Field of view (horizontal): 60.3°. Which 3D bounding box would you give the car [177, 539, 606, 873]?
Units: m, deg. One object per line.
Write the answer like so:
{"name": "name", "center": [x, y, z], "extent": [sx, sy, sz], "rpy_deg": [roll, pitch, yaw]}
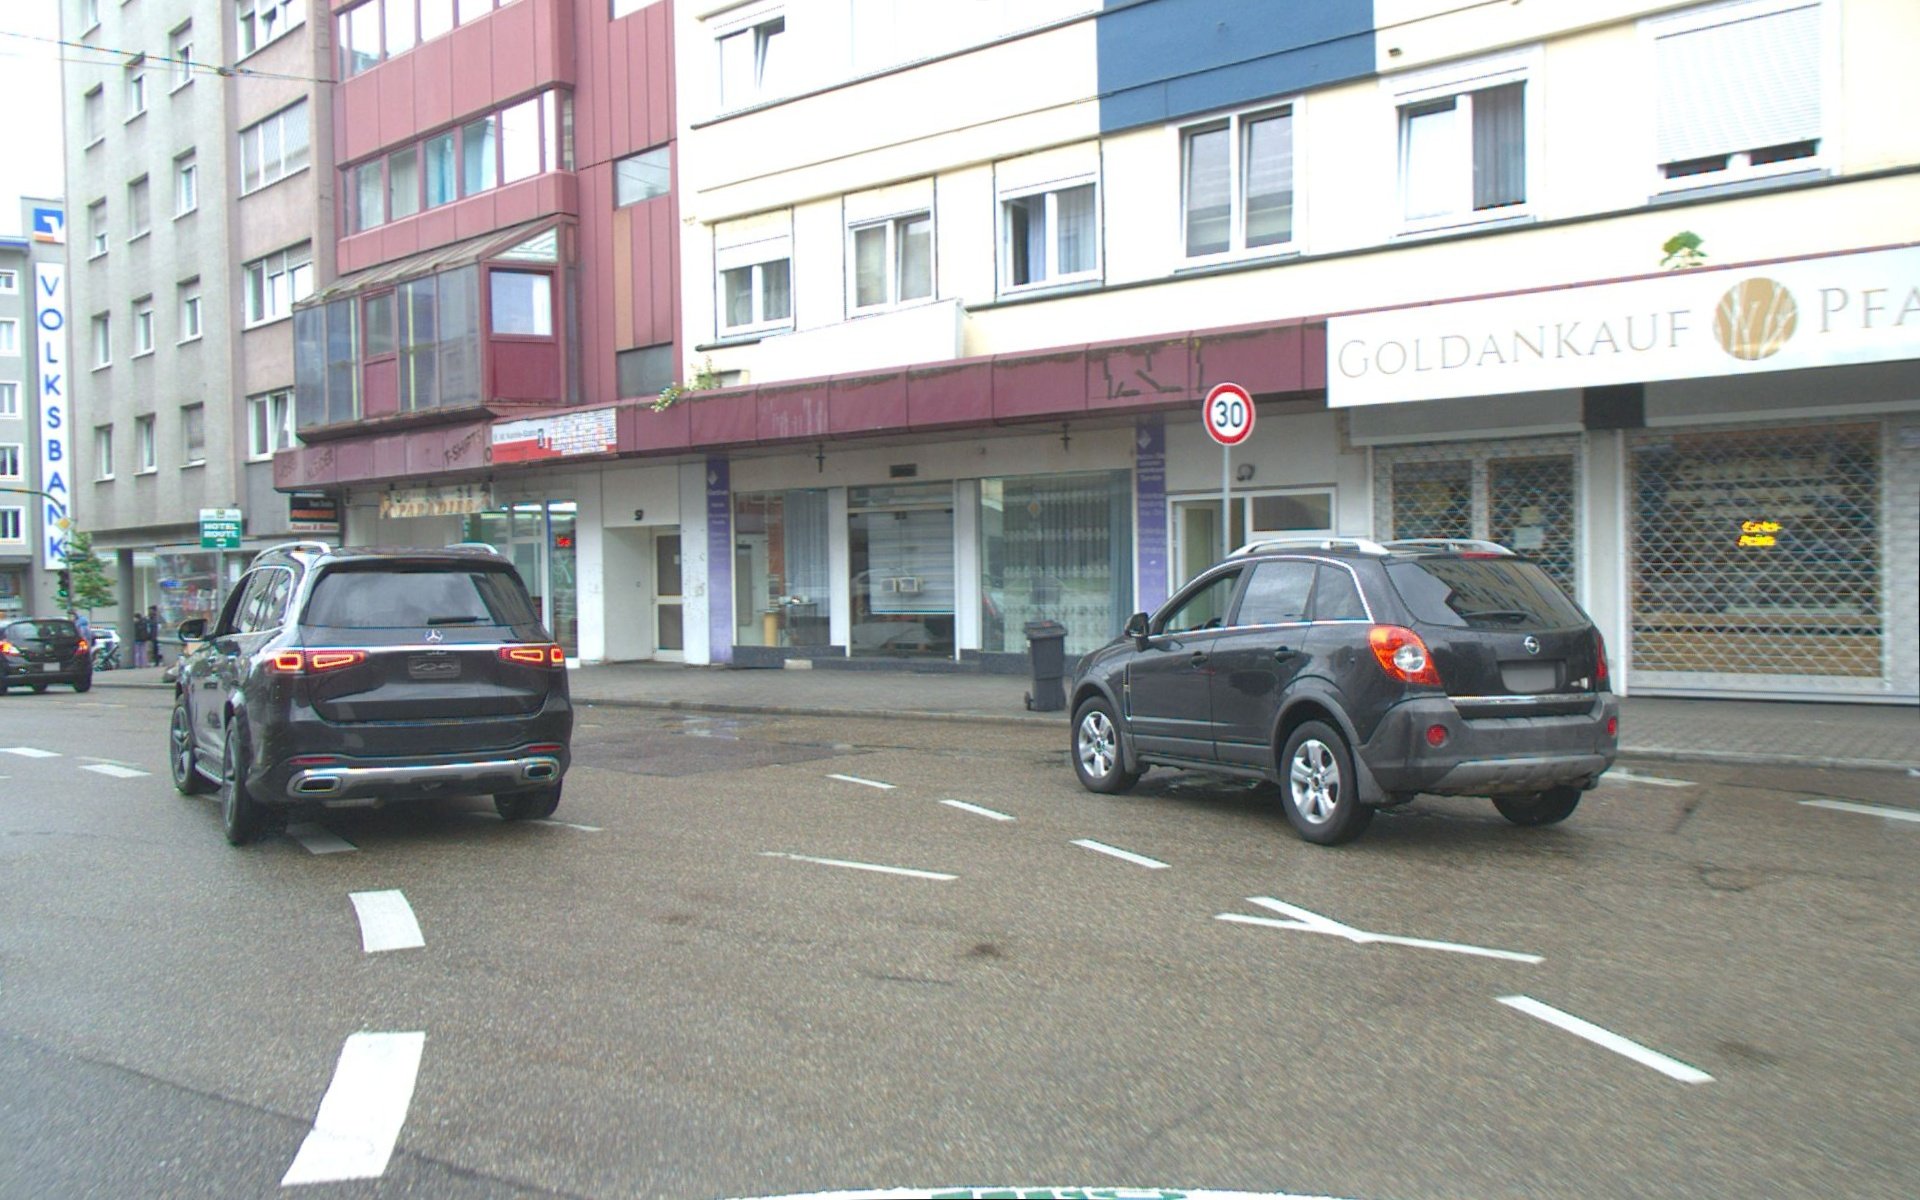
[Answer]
{"name": "car", "center": [-4.187, 0.561, 11.621], "extent": [2.017, 1.830, 4.616], "rpy_deg": [-1, 1, -30]}

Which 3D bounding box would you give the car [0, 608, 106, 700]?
{"name": "car", "center": [-18.529, 1.039, 32.658], "extent": [1.814, 1.688, 4.425], "rpy_deg": [3, -2, -42]}

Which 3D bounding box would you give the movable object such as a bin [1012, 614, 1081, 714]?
{"name": "movable object such as a bin", "center": [0.935, 0.684, 17.925], "extent": [0.526, 0.966, 0.618], "rpy_deg": [-6, 4, -11]}

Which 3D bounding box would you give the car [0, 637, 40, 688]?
{"name": "car", "center": [-30.899, 1.946, 52.721], "extent": [1.896, 1.542, 4.635], "rpy_deg": [3, -2, -19]}

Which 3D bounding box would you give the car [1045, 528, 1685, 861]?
{"name": "car", "center": [2.374, 0.477, 11.016], "extent": [1.872, 1.724, 4.474], "rpy_deg": [0, 0, -23]}

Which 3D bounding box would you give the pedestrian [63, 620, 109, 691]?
{"name": "pedestrian", "center": [-25.271, 1.599, 47.849], "extent": [0.794, 2.049, 0.855], "rpy_deg": [-1, -2, 15]}

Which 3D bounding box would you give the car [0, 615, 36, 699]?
{"name": "car", "center": [-27.720, 1.549, 46.469], "extent": [2.210, 2.267, 5.395], "rpy_deg": [2, -1, -20]}
